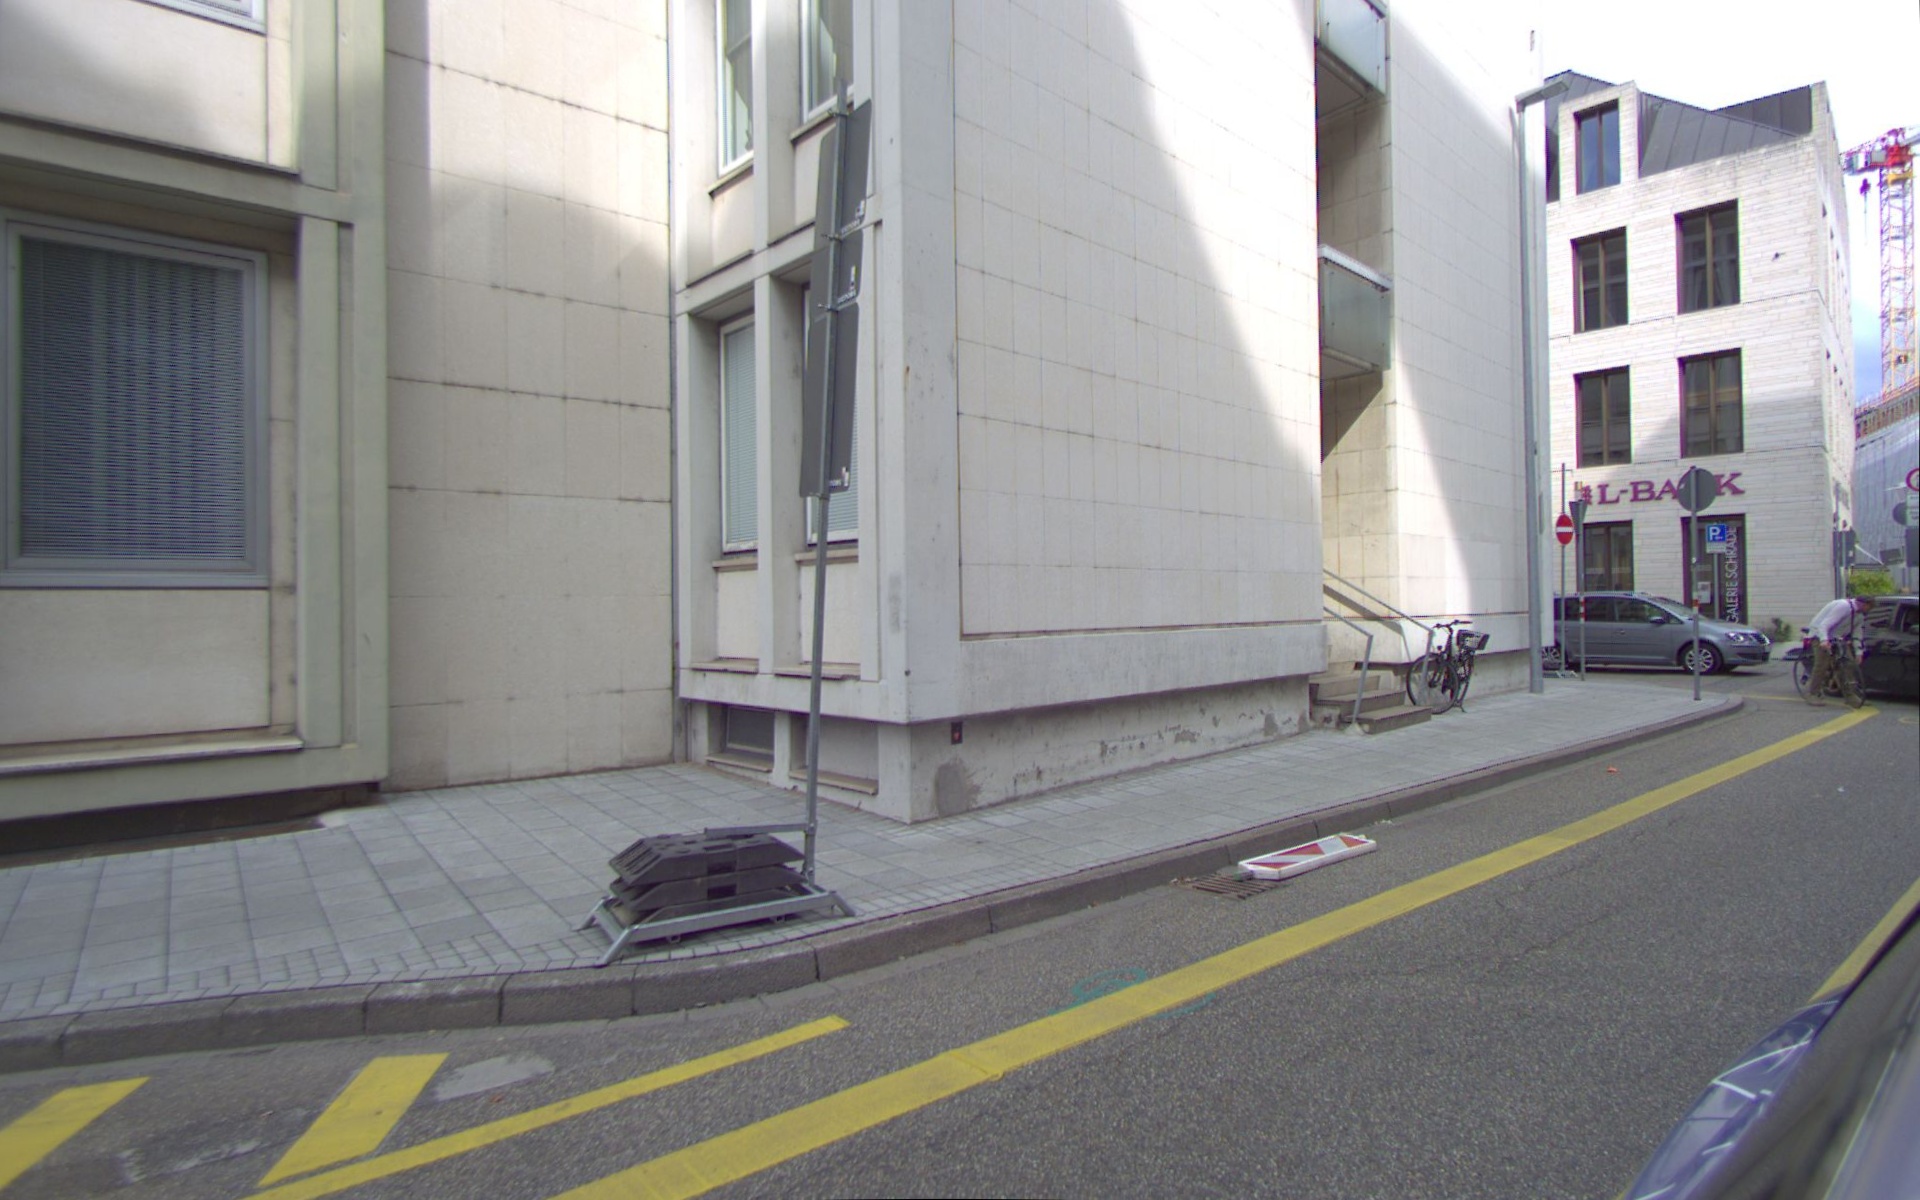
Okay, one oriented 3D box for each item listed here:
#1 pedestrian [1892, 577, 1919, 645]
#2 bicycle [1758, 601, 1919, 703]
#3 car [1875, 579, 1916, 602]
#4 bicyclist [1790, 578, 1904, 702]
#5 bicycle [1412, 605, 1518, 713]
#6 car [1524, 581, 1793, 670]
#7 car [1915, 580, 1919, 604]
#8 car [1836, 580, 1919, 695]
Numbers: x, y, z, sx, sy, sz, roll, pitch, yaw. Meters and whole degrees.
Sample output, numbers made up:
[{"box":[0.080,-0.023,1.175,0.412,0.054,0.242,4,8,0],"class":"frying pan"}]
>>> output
[{"box":[26.667,0.297,28.283,0.859,1.854,0.762,-1,0,44],"class":"pedestrian"},{"box":[12.121,0.653,13.962,0.860,1.209,2.845,-1,0,20],"class":"bicycle"},{"box":[65.227,-0.672,70.583,1.579,1.505,3.949,-1,0,36],"class":"car"},{"box":[12.056,0.522,13.790,0.882,1.614,0.871,-1,0,21],"class":"bicyclist"},{"box":[6.146,0.668,12.274,1.785,1.182,0.589,-1,0,-44],"class":"bicycle"},{"box":[14.078,0.458,20.580,1.784,1.610,4.189,-1,0,-41],"class":"car"},{"box":[59.515,-0.482,61.535,1.579,1.505,3.949,-1,0,36],"class":"car"},{"box":[13.310,0.475,12.810,1.691,1.509,3.752,-1,0,12],"class":"car"}]
